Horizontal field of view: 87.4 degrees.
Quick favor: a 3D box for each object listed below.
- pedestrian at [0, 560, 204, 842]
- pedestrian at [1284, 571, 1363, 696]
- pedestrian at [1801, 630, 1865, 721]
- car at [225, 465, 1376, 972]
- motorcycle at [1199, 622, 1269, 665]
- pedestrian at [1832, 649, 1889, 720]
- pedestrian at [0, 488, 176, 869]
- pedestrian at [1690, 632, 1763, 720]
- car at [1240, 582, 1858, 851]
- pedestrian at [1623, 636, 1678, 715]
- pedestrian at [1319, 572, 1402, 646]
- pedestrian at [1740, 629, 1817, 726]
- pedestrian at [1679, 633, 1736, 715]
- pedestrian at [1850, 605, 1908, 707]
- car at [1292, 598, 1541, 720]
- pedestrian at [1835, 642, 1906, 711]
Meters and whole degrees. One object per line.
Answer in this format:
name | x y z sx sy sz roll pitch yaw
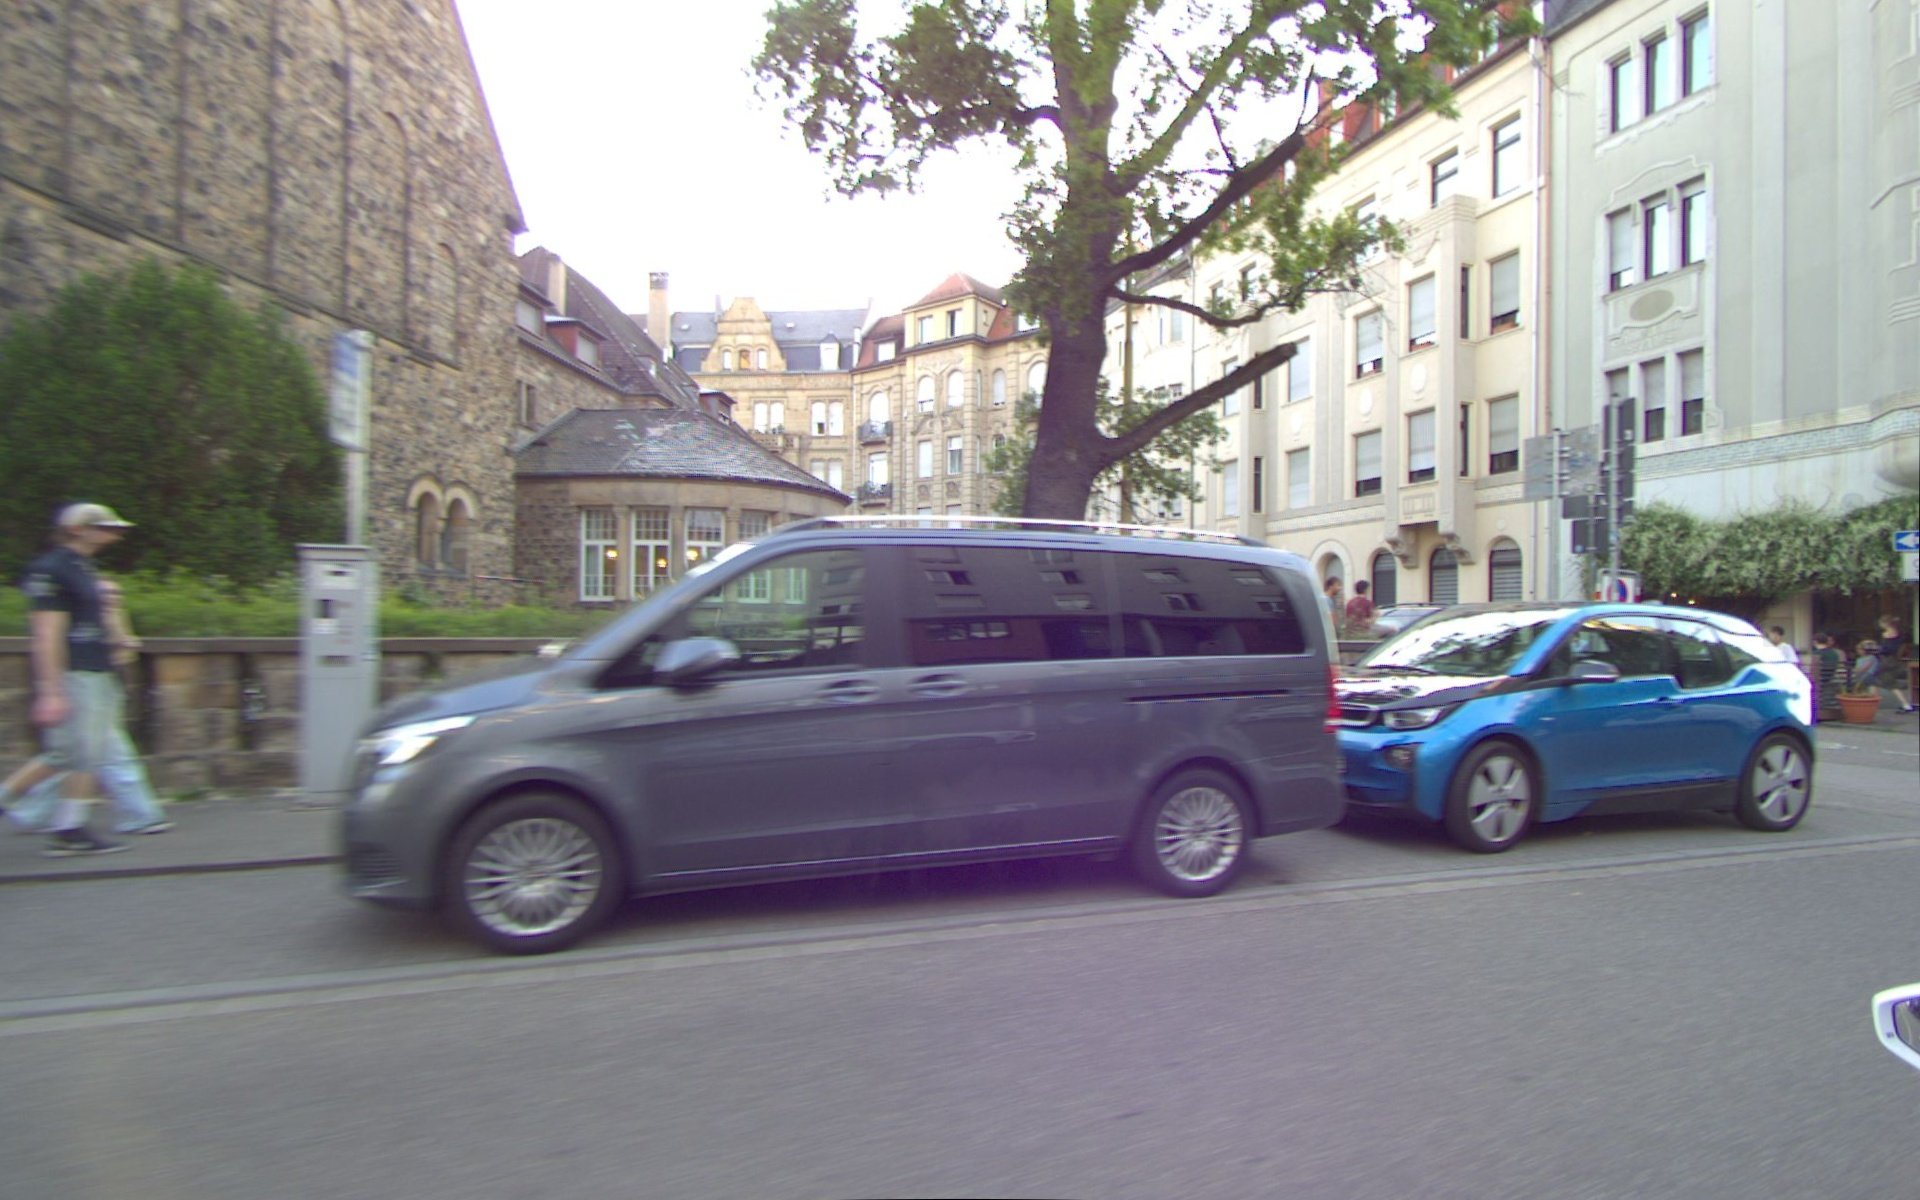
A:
pedestrian | -5.135 0.572 6.012 0.827 1.572 0.581 1 0 -22
pedestrian | 5.275 0.485 14.581 0.824 1.744 0.705 1 -1 -21
pedestrian | 14.680 1.252 16.902 0.635 1.488 0.571 1 -1 -21
car | -0.548 0.491 5.510 5.205 1.891 1.992 1 -1 -18
motorcycle | 10.107 1.588 37.236 0.805 1.514 3.397 1 -1 -18
pedestrian | 16.013 1.494 17.866 0.597 1.230 0.530 1 -1 -19
pedestrian | -4.840 0.407 5.424 0.791 1.930 0.581 1 -1 -22
pedestrian | 13.349 1.313 17.508 0.772 1.488 0.701 1 -1 -20
car | 4.194 0.721 7.250 3.939 1.576 1.640 1 -1 -17
pedestrian | 12.808 1.385 18.628 0.634 1.430 0.571 1 -1 -19
pedestrian | 5.546 0.139 13.929 0.824 0.993 0.705 1 -1 -21
pedestrian | 13.694 1.277 16.809 0.772 1.561 0.701 1 -1 -20
pedestrian | 13.638 1.340 18.334 0.634 1.462 0.571 1 -1 -18
pedestrian | 15.776 0.946 17.245 0.562 1.697 0.610 1 -1 -32
car | 7.741 0.960 17.500 1.860 1.868 3.988 1 -2 -15
pedestrian | 16.926 1.405 18.676 0.767 1.230 0.690 1 -1 -18
